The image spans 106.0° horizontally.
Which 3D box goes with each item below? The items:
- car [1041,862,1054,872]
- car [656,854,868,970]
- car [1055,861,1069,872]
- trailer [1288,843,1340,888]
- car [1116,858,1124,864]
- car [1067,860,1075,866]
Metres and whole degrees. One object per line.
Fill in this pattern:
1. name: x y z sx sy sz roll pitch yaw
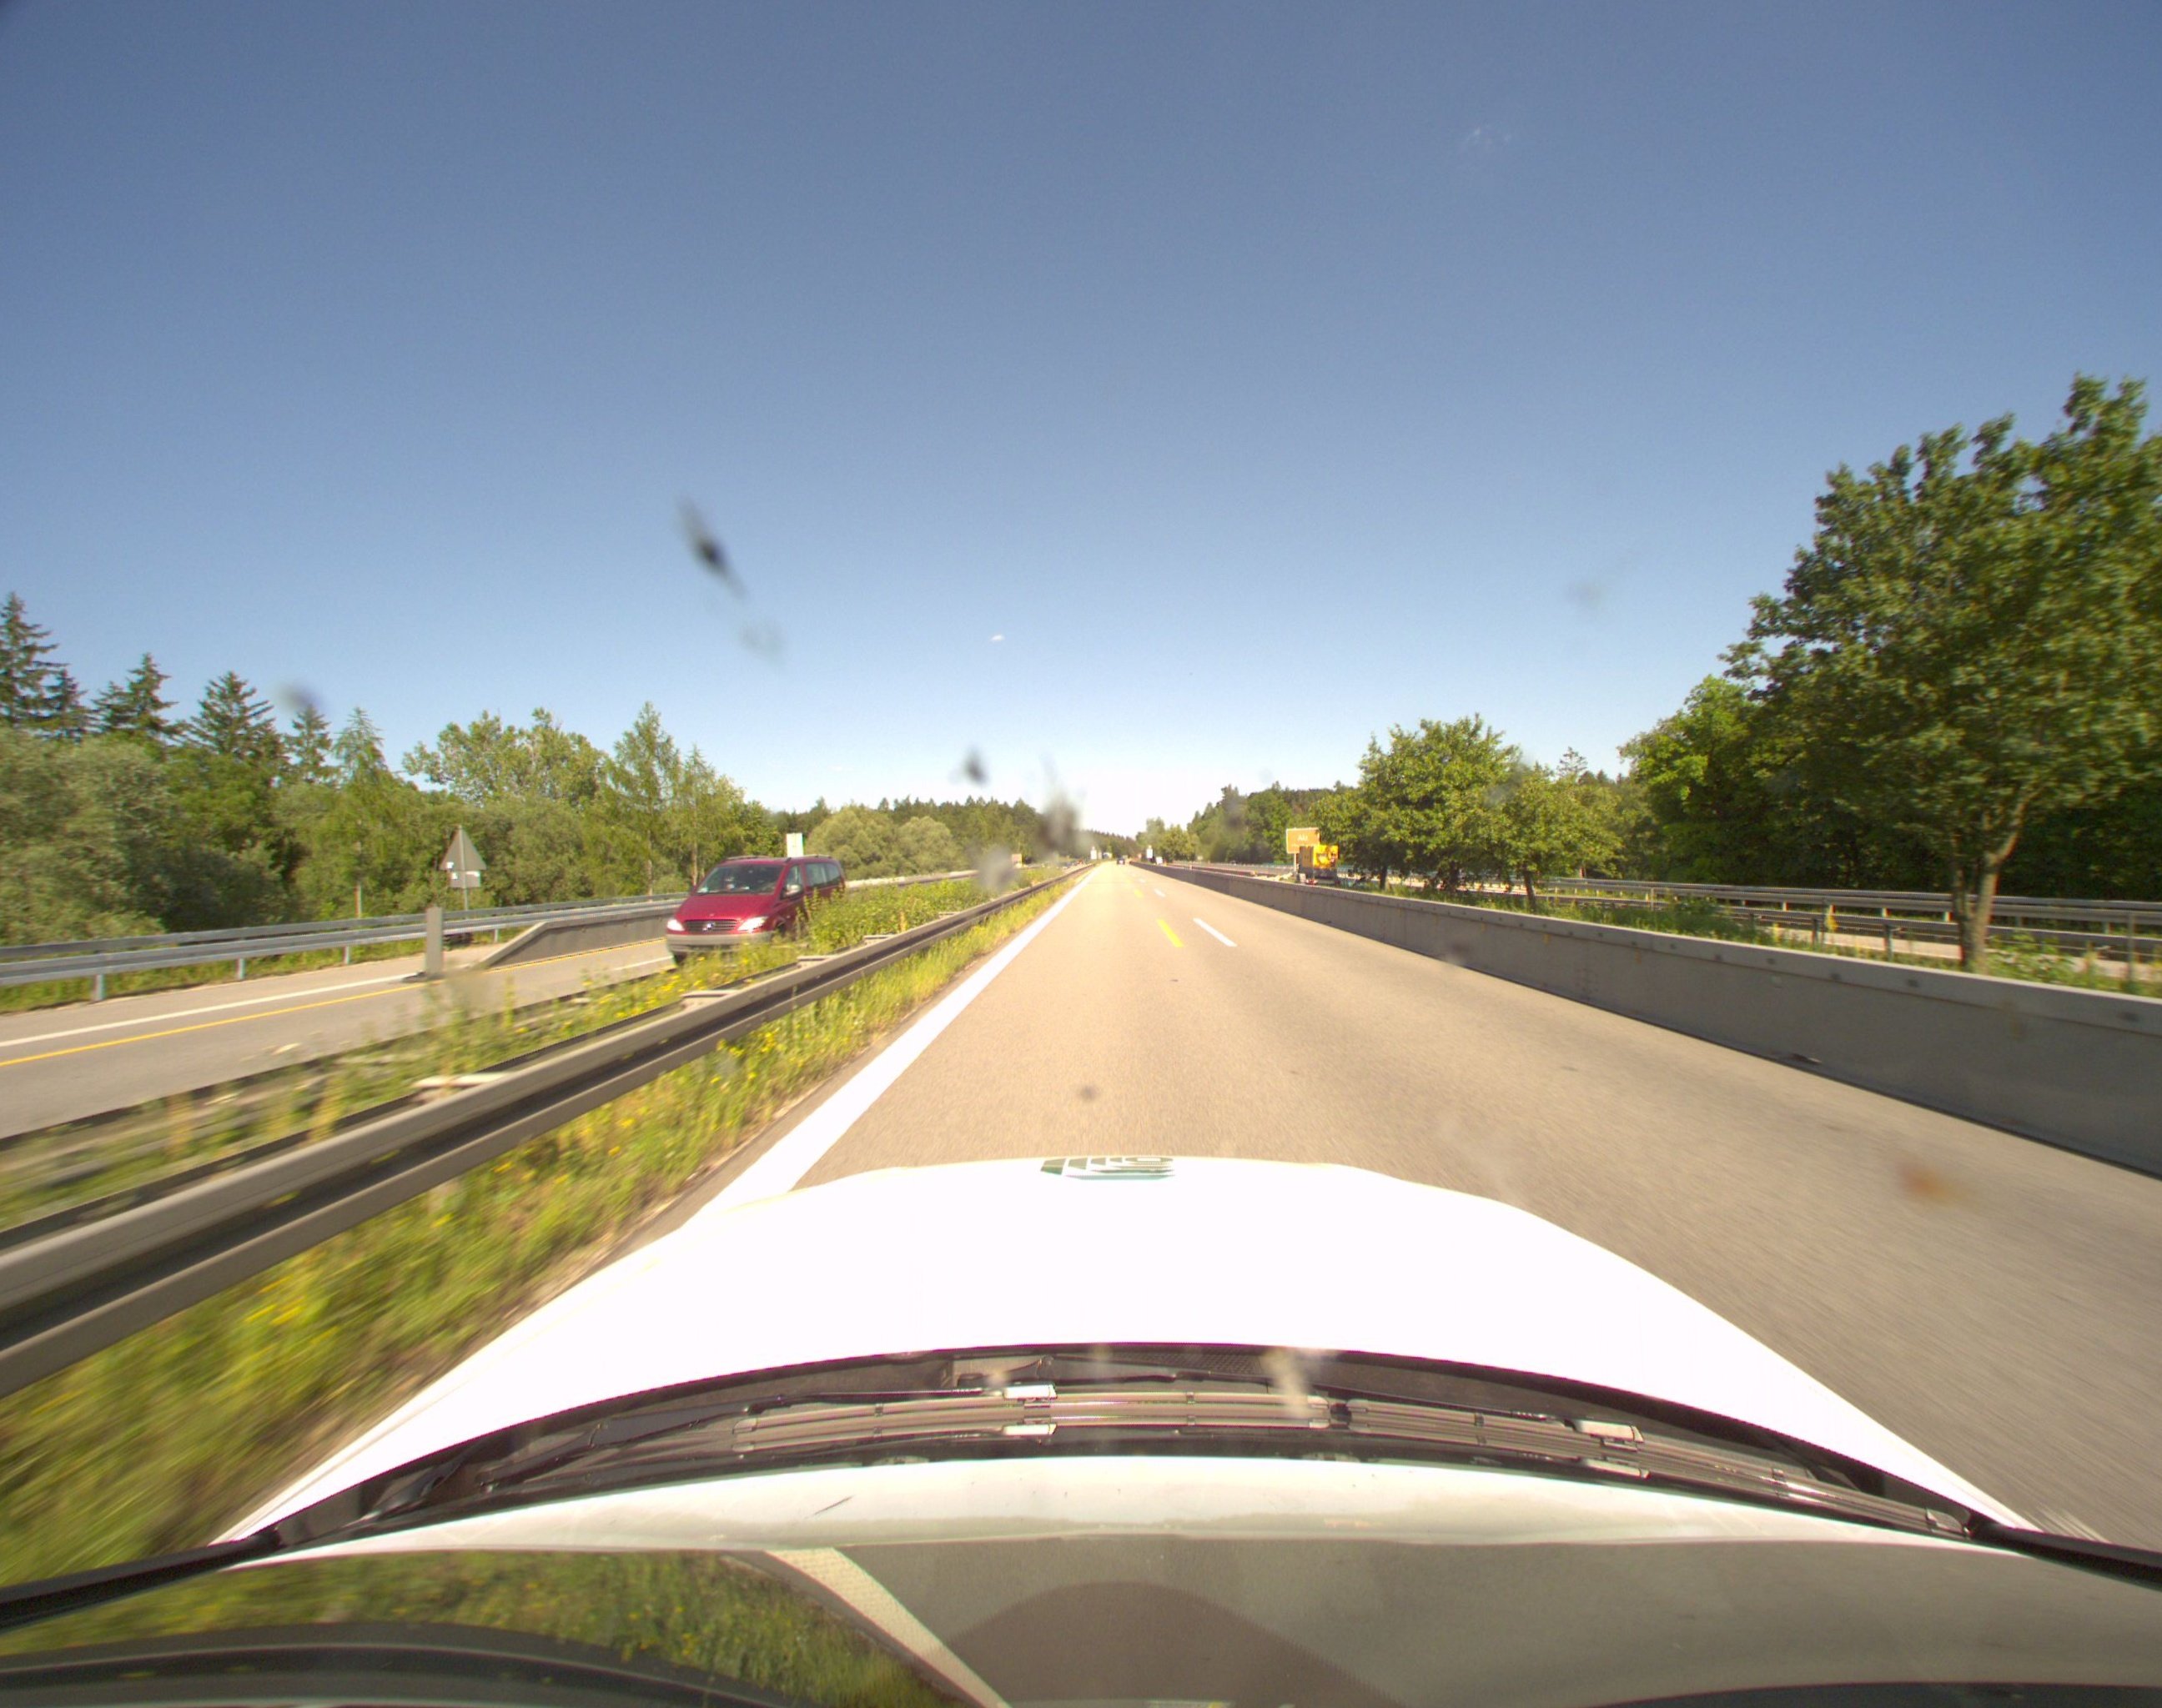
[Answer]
1. car: -5.088 1.913 124.490 1.676 1.393 4.194 -2 0 2
2. car: -6.166 0.990 16.665 1.866 1.974 5.582 0 0 3
3. car: -2.654 1.787 114.435 1.639 1.377 4.812 -2 0 3
4. trailer: 10.298 0.483 36.206 1.121 1.874 3.999 -2 0 0
5. car: 8.943 1.588 186.382 1.737 1.466 4.296 -2 0 2
6. car: -2.560 2.259 207.225 1.737 1.466 4.911 -2 0 2
